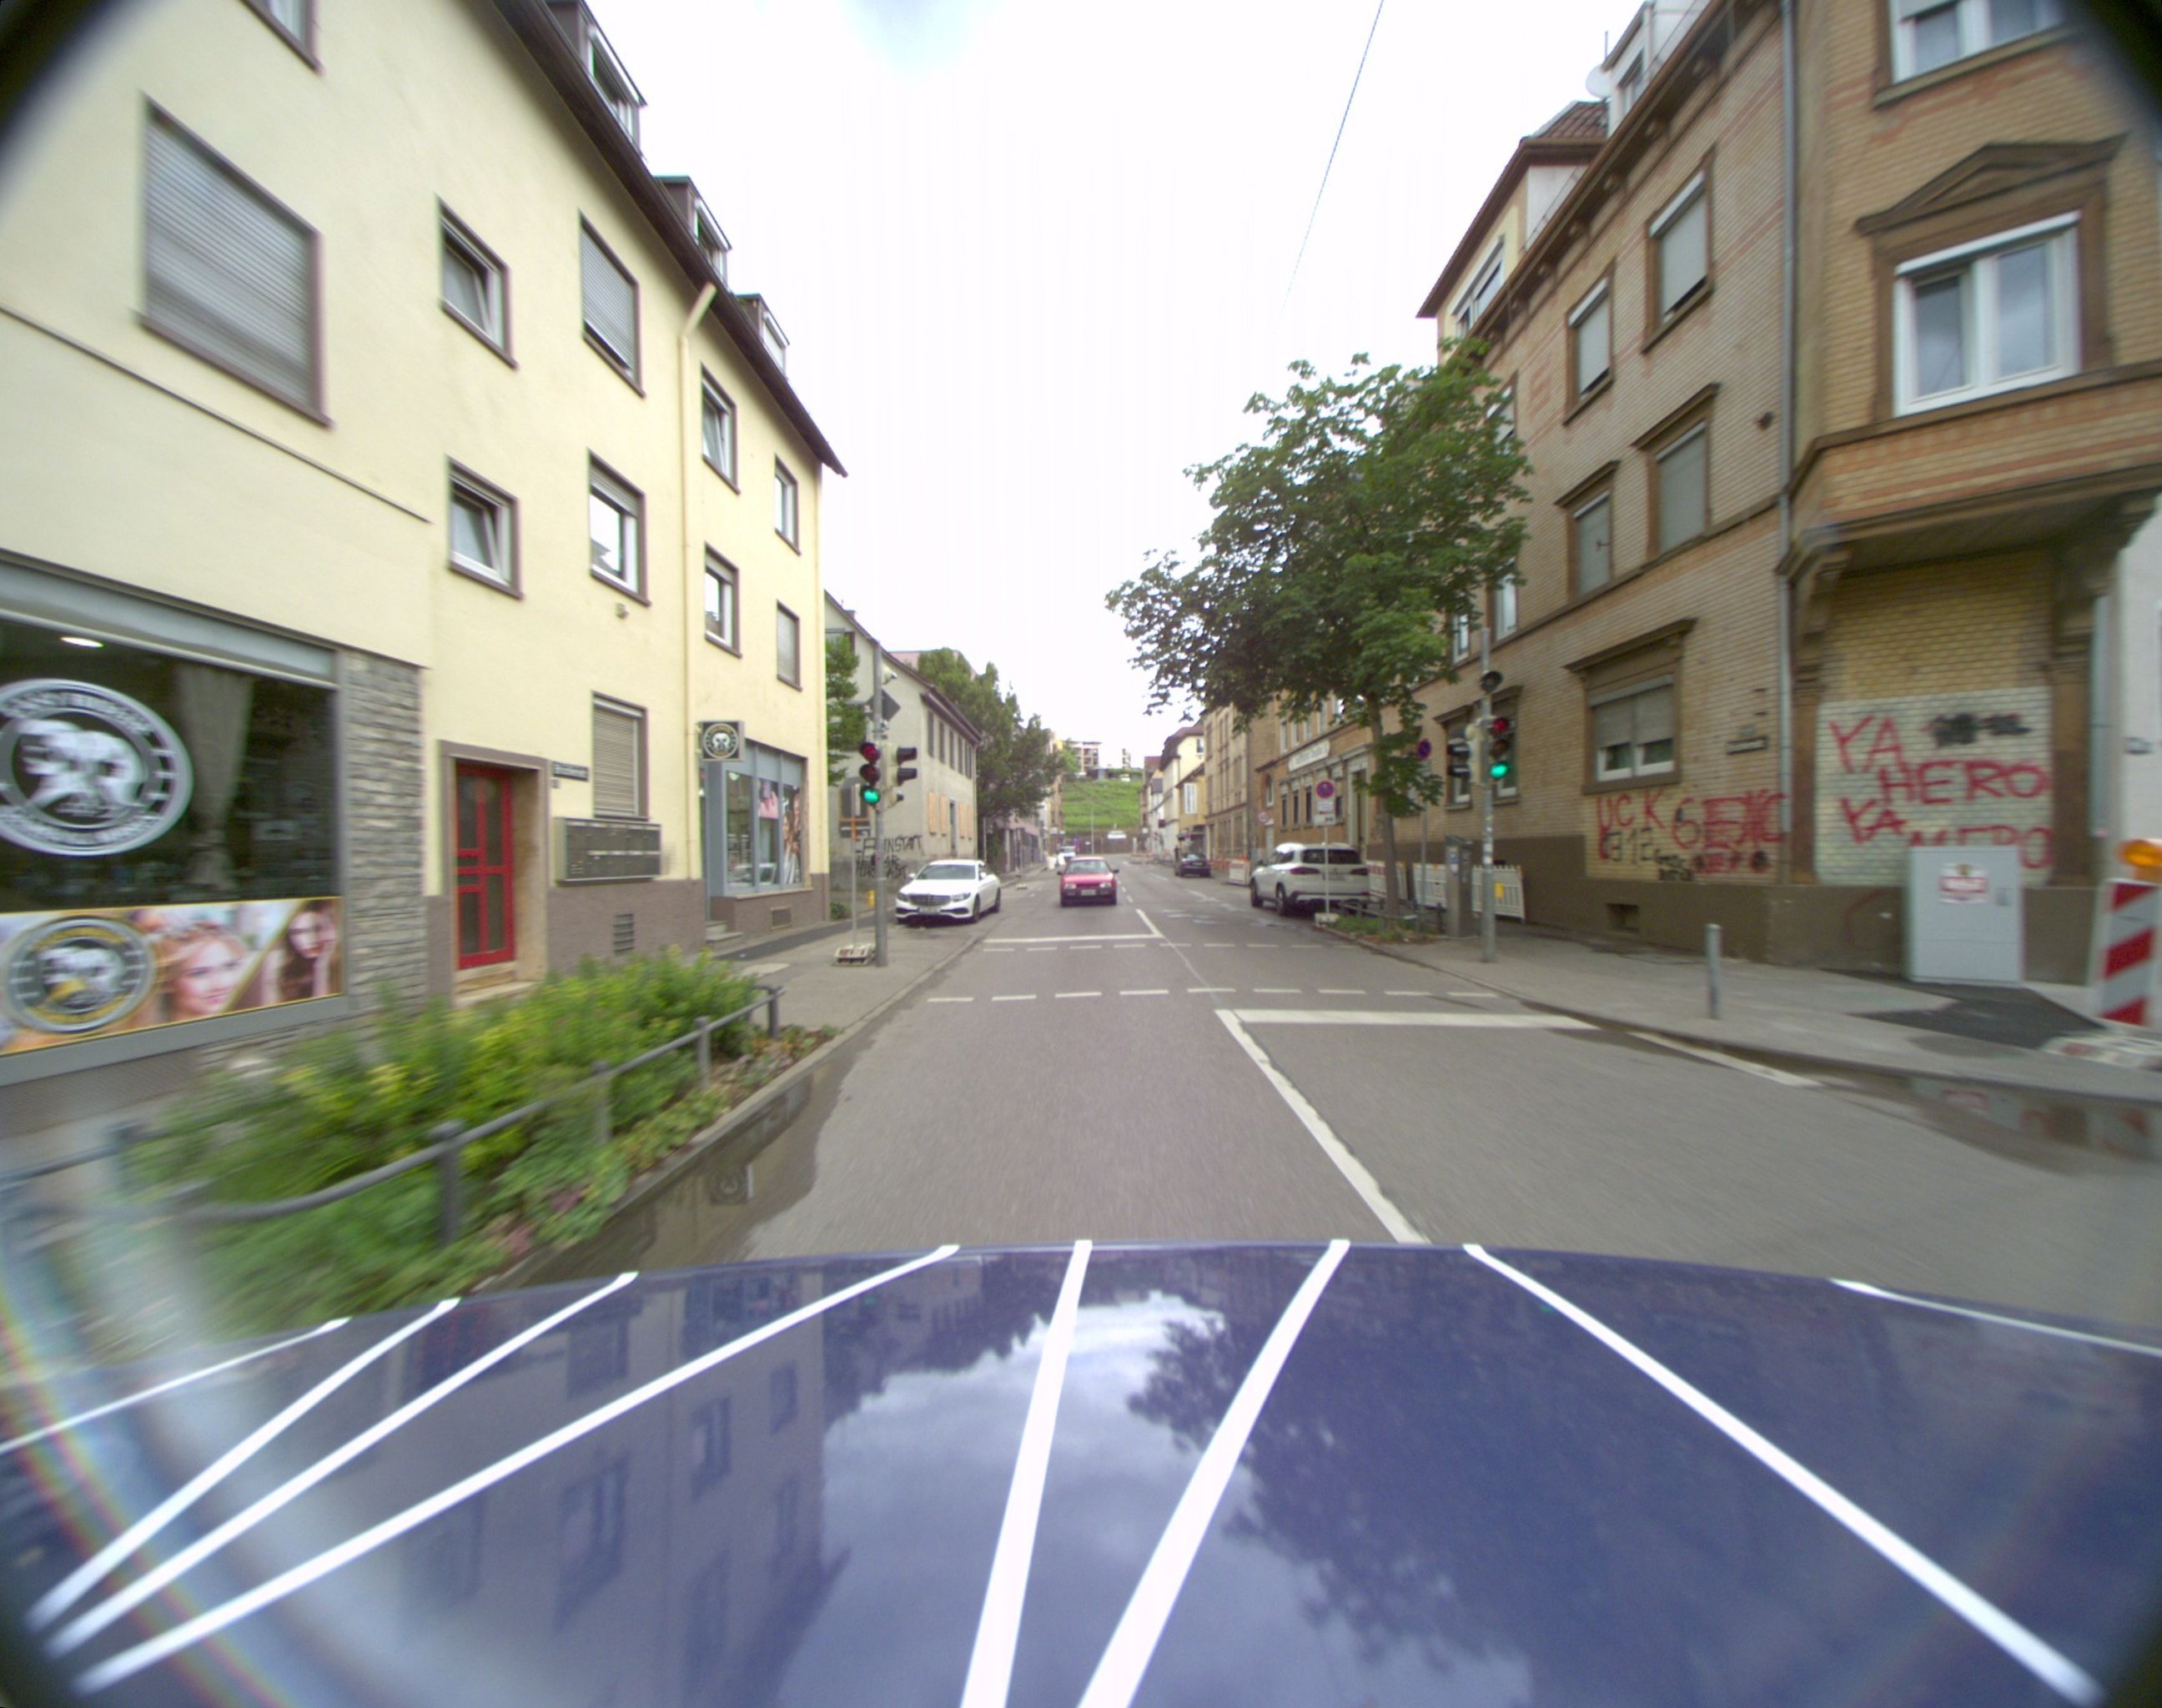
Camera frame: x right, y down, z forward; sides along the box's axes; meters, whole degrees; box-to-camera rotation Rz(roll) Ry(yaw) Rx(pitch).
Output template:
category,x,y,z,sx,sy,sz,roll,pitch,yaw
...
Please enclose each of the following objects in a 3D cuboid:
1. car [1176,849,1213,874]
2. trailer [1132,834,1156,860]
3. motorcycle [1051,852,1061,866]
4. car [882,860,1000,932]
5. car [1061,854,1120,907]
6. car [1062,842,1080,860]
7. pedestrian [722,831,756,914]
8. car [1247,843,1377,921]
category,x,y,z,sx,sy,sz,roll,pitch,yaw
car,6.516,0.405,44.007,1.582,1.375,4.354,0,1,2
trailer,7.054,-0.821,86.097,2.450,2.788,6.303,0,1,3
motorcycle,-2.228,0.435,67.973,0.648,1.219,2.337,-2,1,1
car,-3.339,0.947,19.124,1.771,1.457,4.784,-1,1,4
car,0.349,0.757,23.361,1.626,1.387,4.000,-1,1,3
car,-1.128,-0.404,89.518,1.998,1.970,4.877,-1,1,0
pedestrian,-6.430,0.342,14.297,0.373,1.522,0.419,-2,2,3
car,5.618,0.588,19.144,1.895,1.702,4.740,1,1,1
